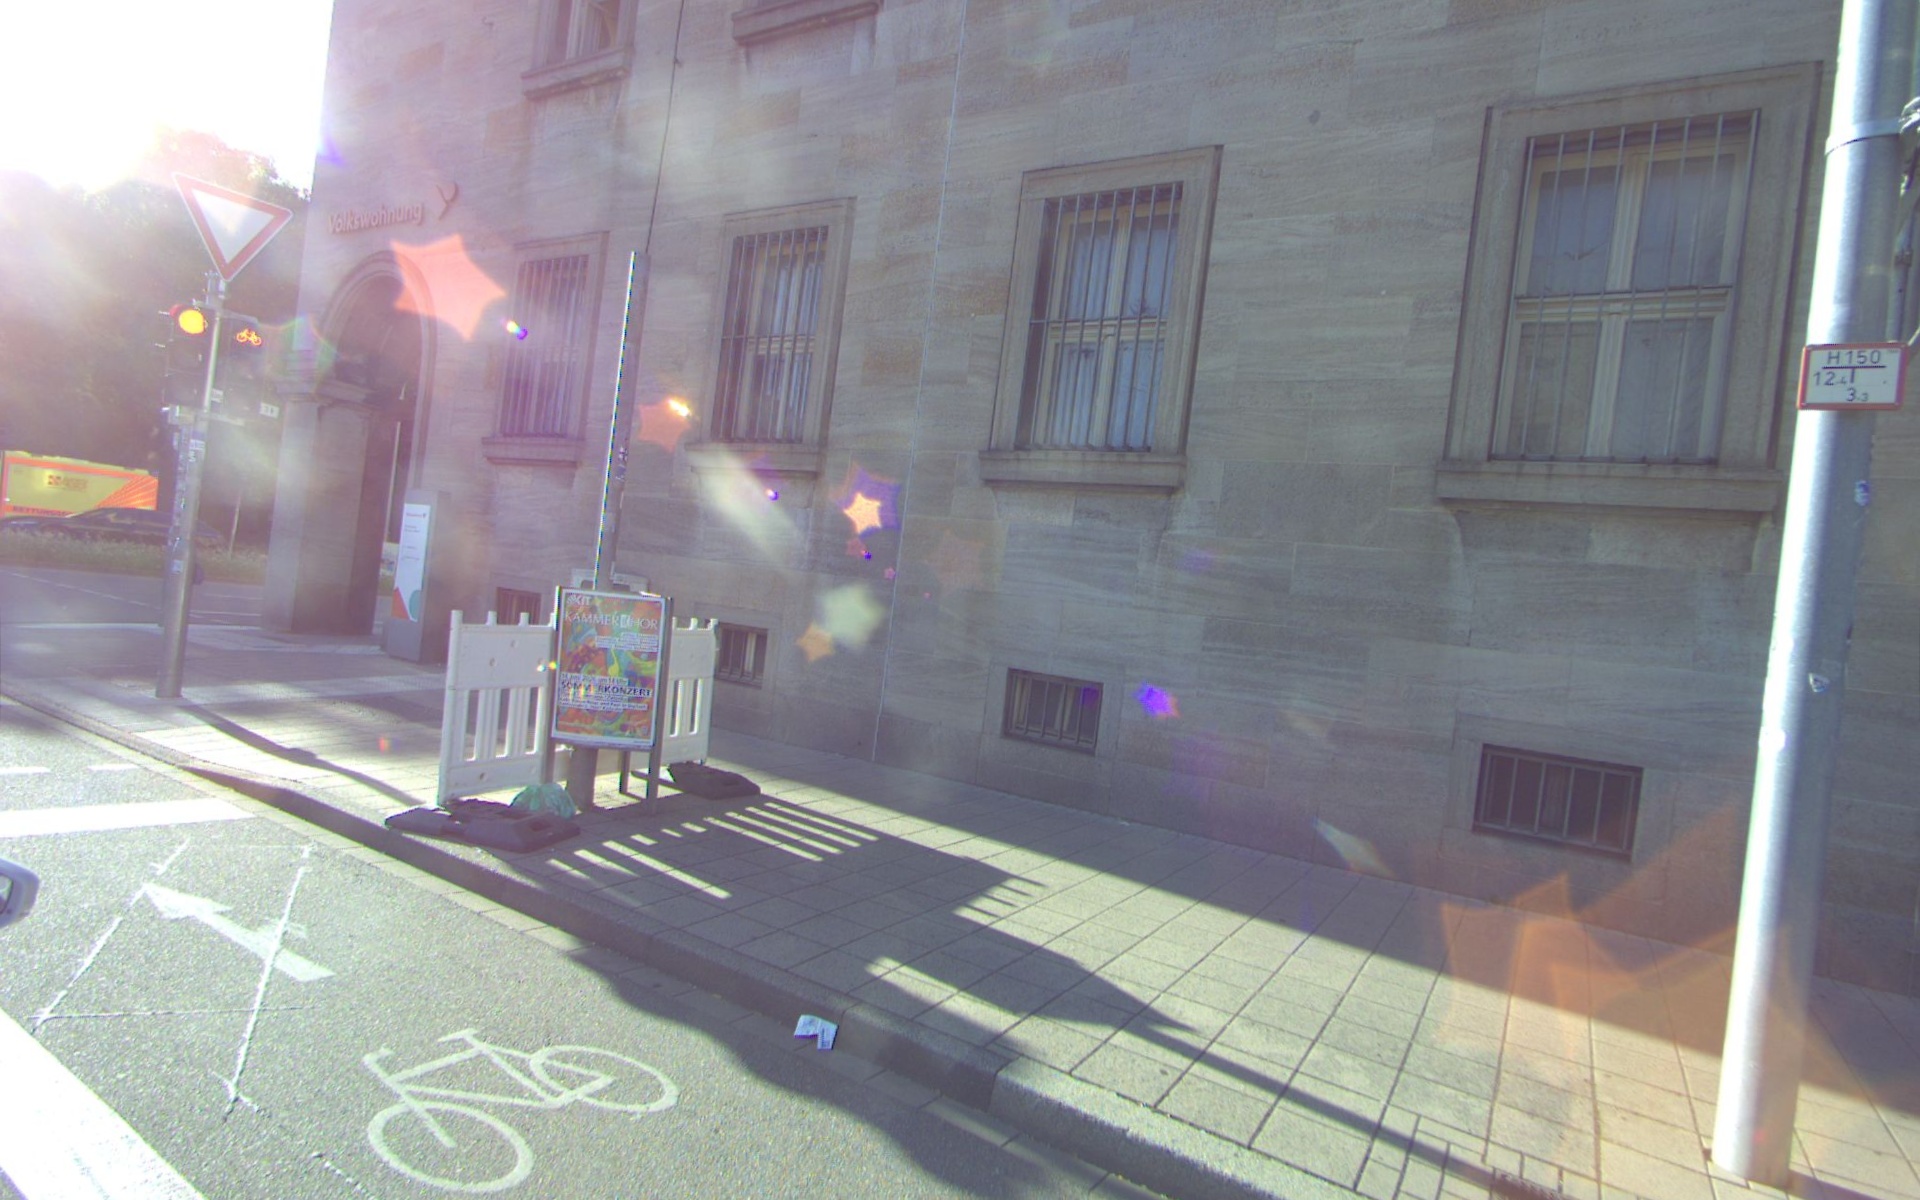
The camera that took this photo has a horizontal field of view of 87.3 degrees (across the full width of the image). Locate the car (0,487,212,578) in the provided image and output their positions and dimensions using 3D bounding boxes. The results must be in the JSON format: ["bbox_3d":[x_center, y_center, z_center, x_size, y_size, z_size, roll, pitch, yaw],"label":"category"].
[{"bbox_3d":[-23.025,-1.756,26.932,1.857,1.665,4.324,6,-3,32],"label":"car"}]

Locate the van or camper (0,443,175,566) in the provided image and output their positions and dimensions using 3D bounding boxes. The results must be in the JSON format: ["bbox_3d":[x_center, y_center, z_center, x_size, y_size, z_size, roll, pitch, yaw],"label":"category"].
[{"bbox_3d":[-27.896,-2.993,29.670,2.866,2.893,6.716,6,-3,36],"label":"van or camper"}]
